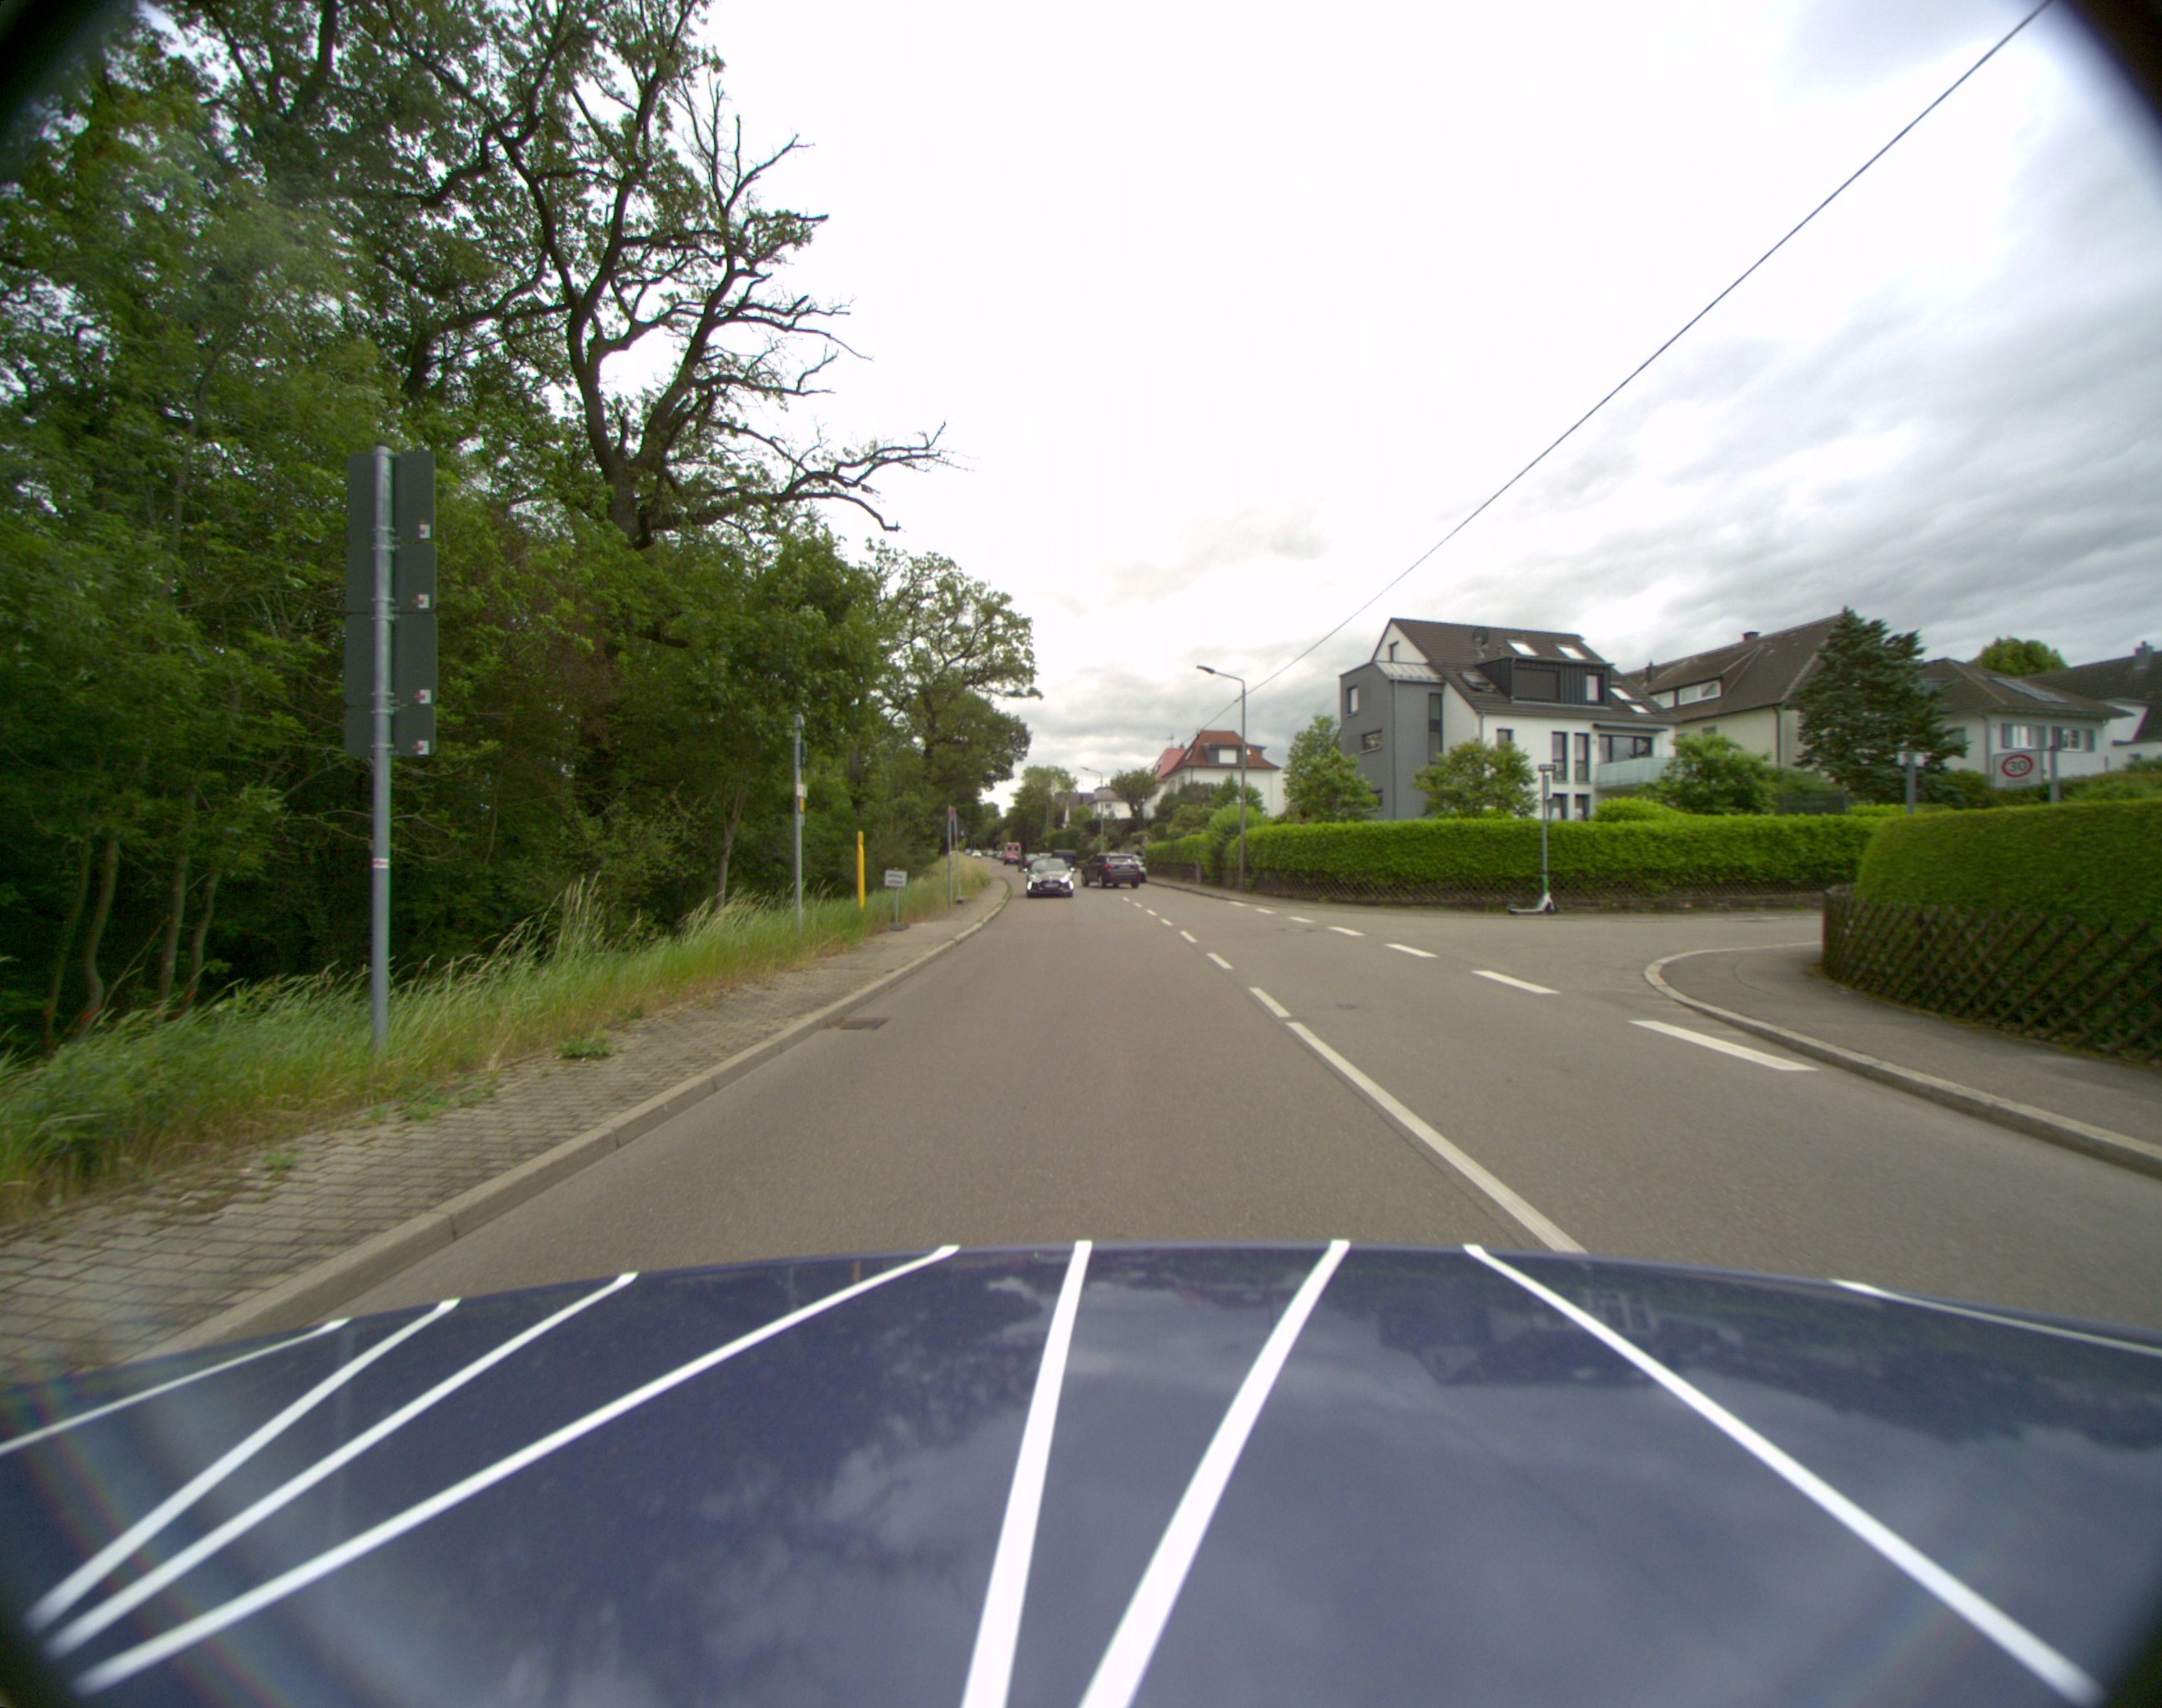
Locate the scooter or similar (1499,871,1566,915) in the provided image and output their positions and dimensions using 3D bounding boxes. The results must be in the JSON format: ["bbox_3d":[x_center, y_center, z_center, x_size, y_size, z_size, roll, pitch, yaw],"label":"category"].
[{"bbox_3d":[11.826,1.013,19.919,1.454,1.095,0.455,-1,4,2],"label":"scooter or similar"}]

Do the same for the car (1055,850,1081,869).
[{"bbox_3d":[-1.139,0.422,65.006,1.876,1.569,3.997,0,1,-7],"label":"car"}]

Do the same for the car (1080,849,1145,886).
[{"bbox_3d":[1.399,0.583,35.362,1.820,1.590,3.950,-2,1,-16],"label":"car"}]

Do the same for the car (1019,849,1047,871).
[{"bbox_3d":[-3.987,0.444,62.701,2.000,1.749,3.997,0,1,-8],"label":"car"}]

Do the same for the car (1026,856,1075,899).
[{"bbox_3d":[-1.159,0.864,29.373,1.730,1.449,3.854,-1,1,-2],"label":"car"}]

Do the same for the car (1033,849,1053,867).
[{"bbox_3d":[-3.938,0.378,78.591,1.833,1.665,3.996,0,2,-7],"label":"car"}]

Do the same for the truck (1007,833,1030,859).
[{"bbox_3d":[-9.364,-1.189,112.697,3.008,3.618,7.082,0,1,-7],"label":"truck"}]

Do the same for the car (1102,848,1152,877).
[{"bbox_3d":[2.446,0.419,41.268,1.841,1.514,3.996,0,1,-10],"label":"car"}]
